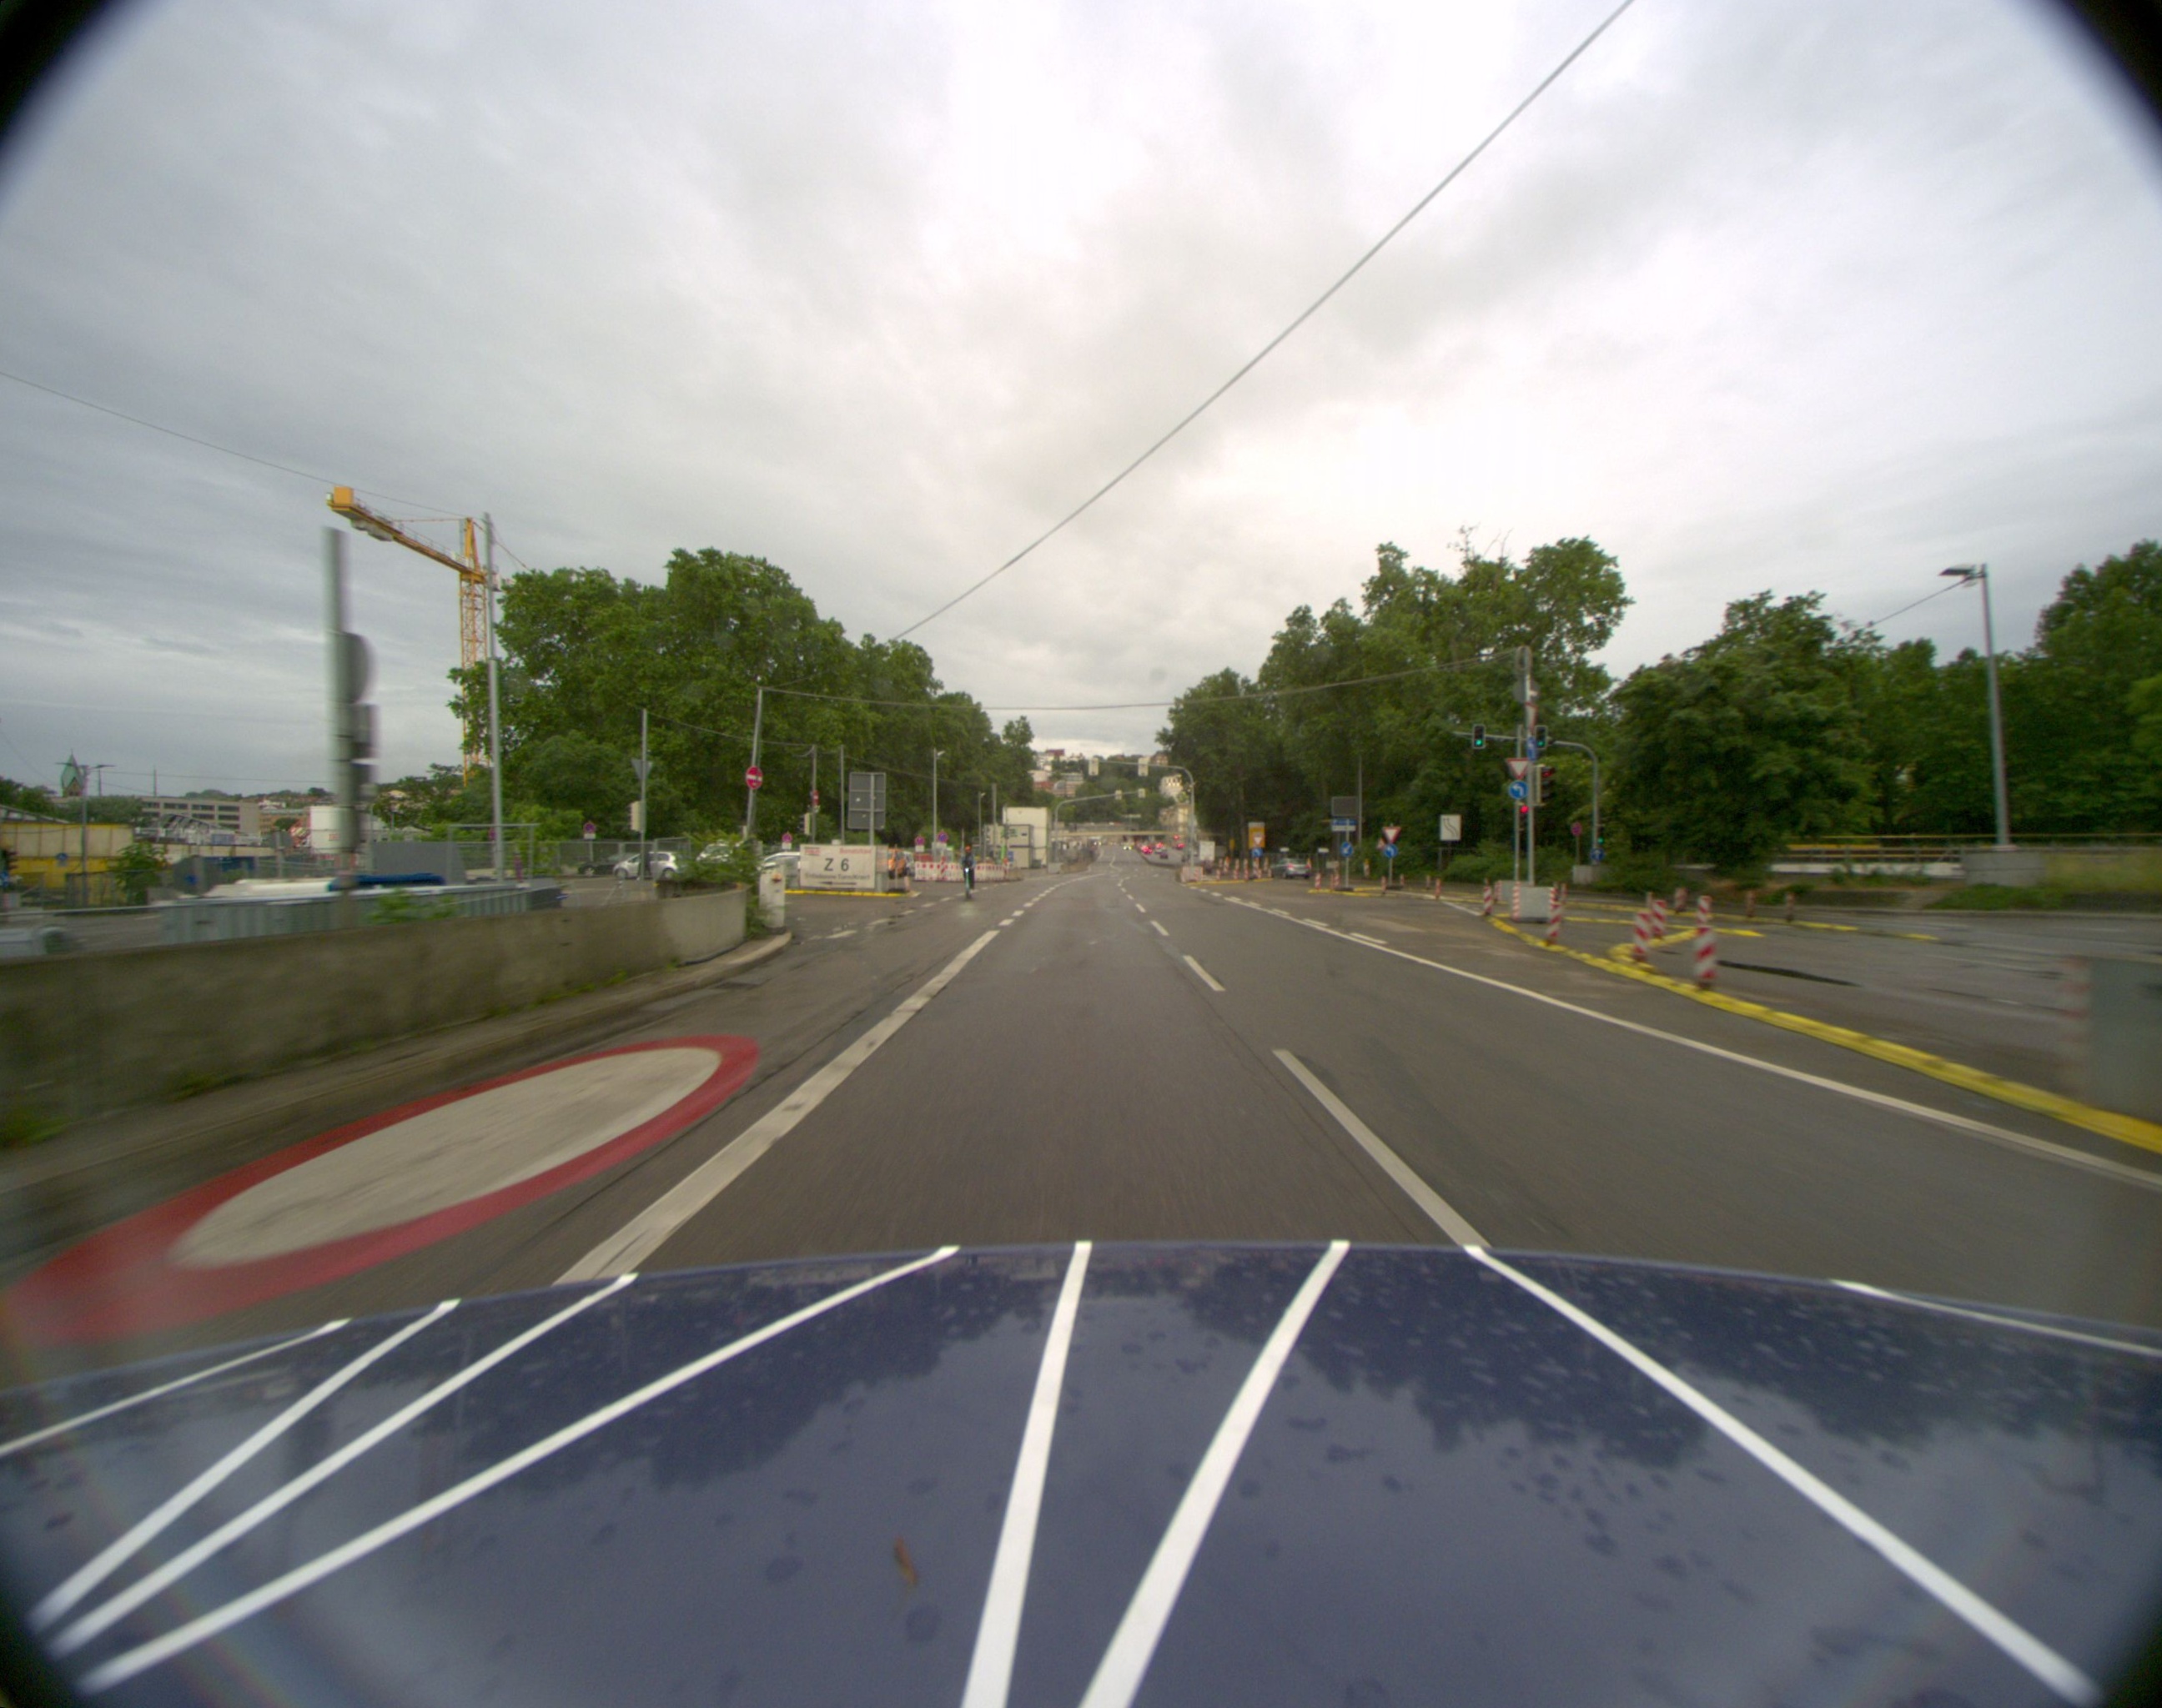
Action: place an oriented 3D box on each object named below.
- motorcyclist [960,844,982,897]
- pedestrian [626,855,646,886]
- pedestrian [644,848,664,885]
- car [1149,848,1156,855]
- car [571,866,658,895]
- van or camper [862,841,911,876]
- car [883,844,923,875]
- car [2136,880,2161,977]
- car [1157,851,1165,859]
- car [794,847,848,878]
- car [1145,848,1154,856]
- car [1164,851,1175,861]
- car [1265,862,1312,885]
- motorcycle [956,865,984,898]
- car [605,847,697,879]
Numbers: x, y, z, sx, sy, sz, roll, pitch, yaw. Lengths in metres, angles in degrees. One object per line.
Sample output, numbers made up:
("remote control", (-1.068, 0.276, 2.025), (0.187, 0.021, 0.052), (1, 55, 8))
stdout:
("motorcyclist", (-4.280, 0.652, 29.518), (0.726, 2.024, 0.587), (1, -1, 1))
("pedestrian", (-23.001, 0.850, 39.265), (0.652, 1.564, 0.662), (1, -1, -7))
("pedestrian", (-22.056, 0.659, 39.288), (0.652, 1.859, 0.662), (1, -1, -7))
("car", (21.762, -0.676, 231.365), (1.998, 2.001, 4.002), (-1, -1, 2))
("car", (-27.003, 1.536, 44.103), (3.729, 1.627, 1.999), (1, -2, -7))
("van or camper", (-12.425, 0.349, 48.790), (2.123, 2.016, 5.012), (1, -2, -4))
("car", (-12.713, 0.459, 54.507), (1.999, 2.054, 4.190), (1, -2, -2))
("car", (18.074, 1.197, 10.853), (1.682, 1.533, 3.175), (1, 0, 4))
("car", (21.681, 0.284, 205.833), (1.998, 2.001, 4.002), (-1, -1, 2))
("car", (-14.400, 0.515, 42.336), (2.000, 1.627, 4.189), (1, -2, -7))
("car", (18.004, -0.478, 199.796), (1.998, 2.001, 4.002), (-1, -1, 2))
("car", (19.504, 0.502, 167.683), (1.998, 2.001, 4.002), (-1, -1, 2))
("car", (14.921, 1.437, 54.827), (1.664, 1.533, 4.157), (0, -3, -9))
("motorcycle", (-4.284, 1.060, 29.584), (0.730, 1.221, 2.162), (1, -2, 1))
("car", (-22.932, 0.511, 40.670), (3.729, 1.627, 1.999), (1, -2, -7))
